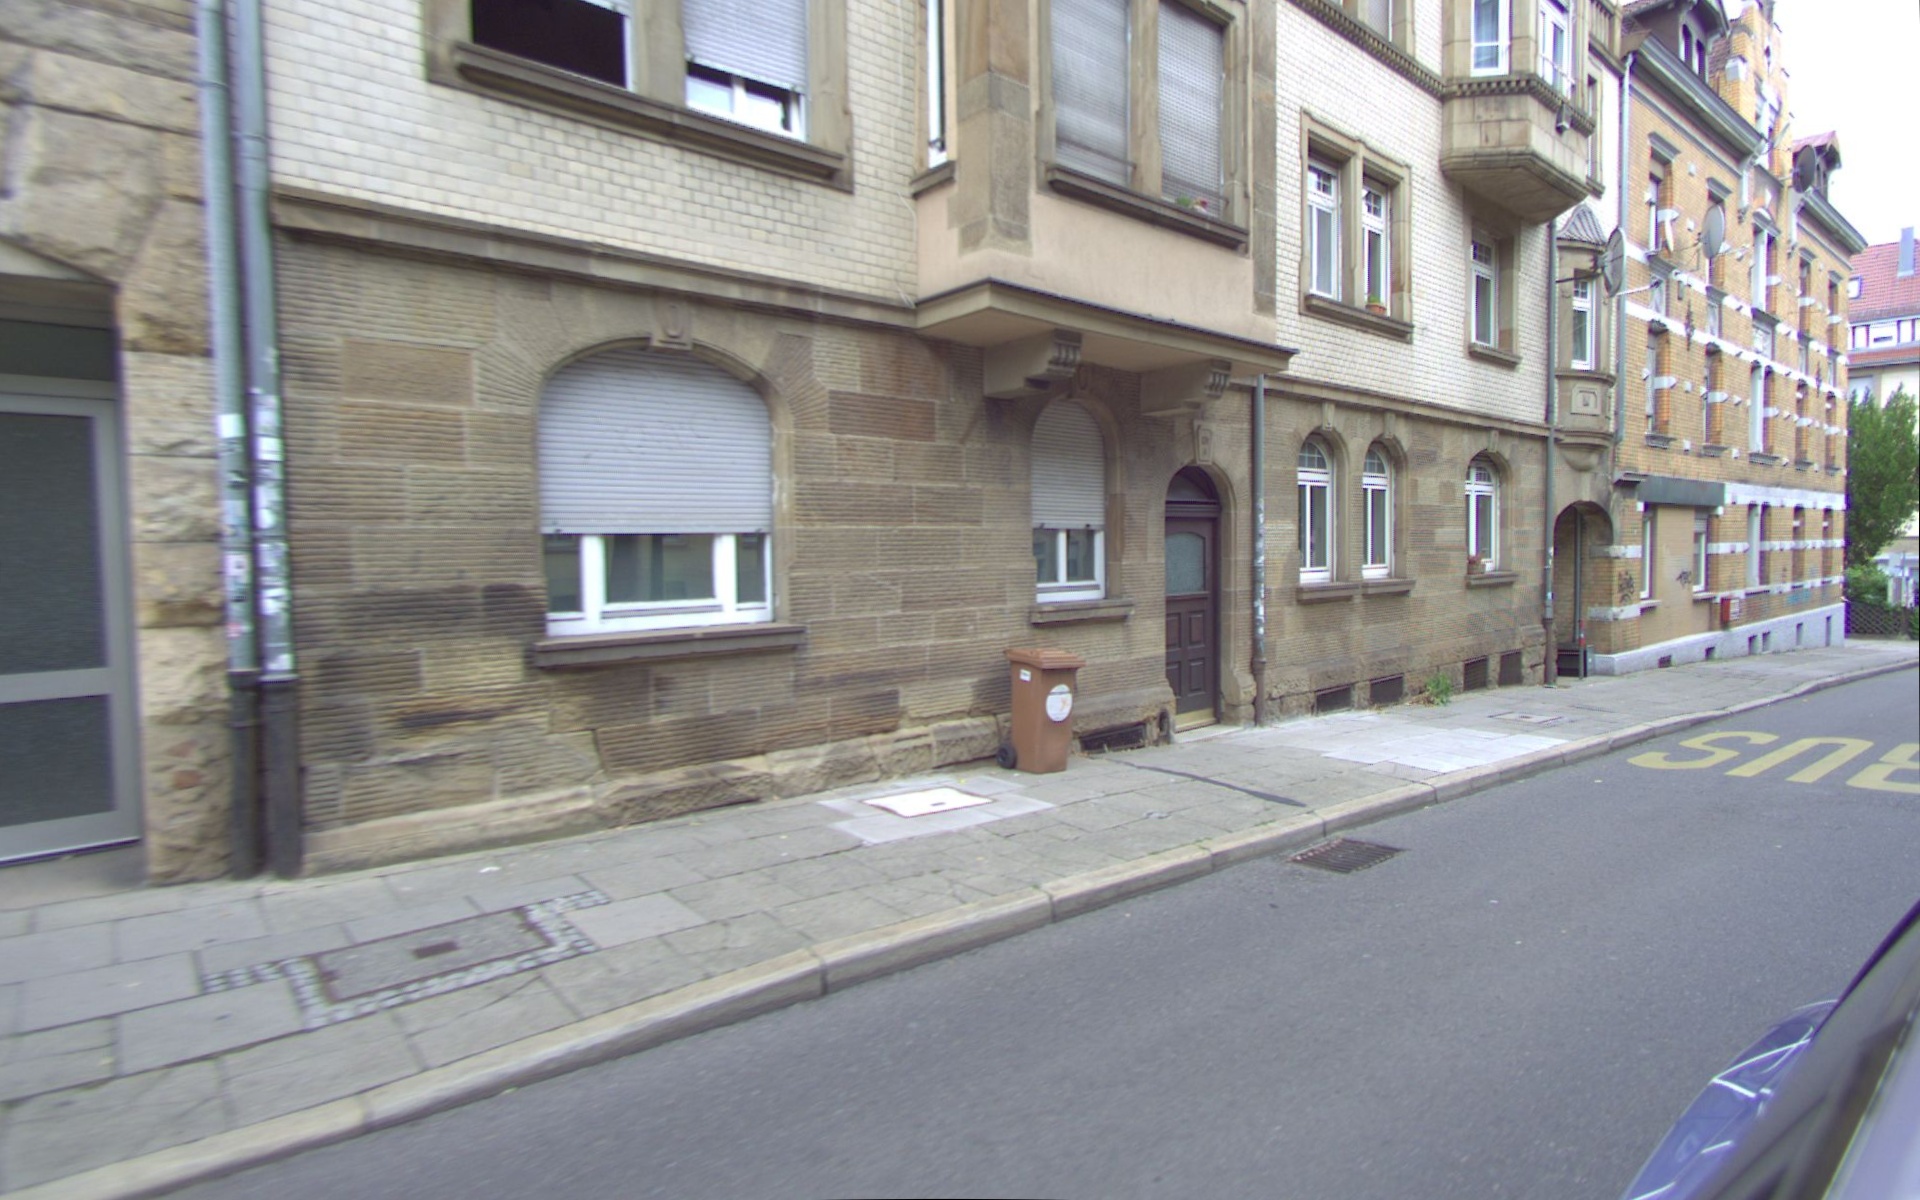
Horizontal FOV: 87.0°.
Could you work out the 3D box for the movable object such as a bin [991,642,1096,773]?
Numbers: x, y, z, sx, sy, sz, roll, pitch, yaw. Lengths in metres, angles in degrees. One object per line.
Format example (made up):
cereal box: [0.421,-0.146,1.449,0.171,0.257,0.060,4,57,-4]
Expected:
movable object such as a bin: [0.642,0.802,7.799,0.553,0.915,0.595,0,0,-40]
